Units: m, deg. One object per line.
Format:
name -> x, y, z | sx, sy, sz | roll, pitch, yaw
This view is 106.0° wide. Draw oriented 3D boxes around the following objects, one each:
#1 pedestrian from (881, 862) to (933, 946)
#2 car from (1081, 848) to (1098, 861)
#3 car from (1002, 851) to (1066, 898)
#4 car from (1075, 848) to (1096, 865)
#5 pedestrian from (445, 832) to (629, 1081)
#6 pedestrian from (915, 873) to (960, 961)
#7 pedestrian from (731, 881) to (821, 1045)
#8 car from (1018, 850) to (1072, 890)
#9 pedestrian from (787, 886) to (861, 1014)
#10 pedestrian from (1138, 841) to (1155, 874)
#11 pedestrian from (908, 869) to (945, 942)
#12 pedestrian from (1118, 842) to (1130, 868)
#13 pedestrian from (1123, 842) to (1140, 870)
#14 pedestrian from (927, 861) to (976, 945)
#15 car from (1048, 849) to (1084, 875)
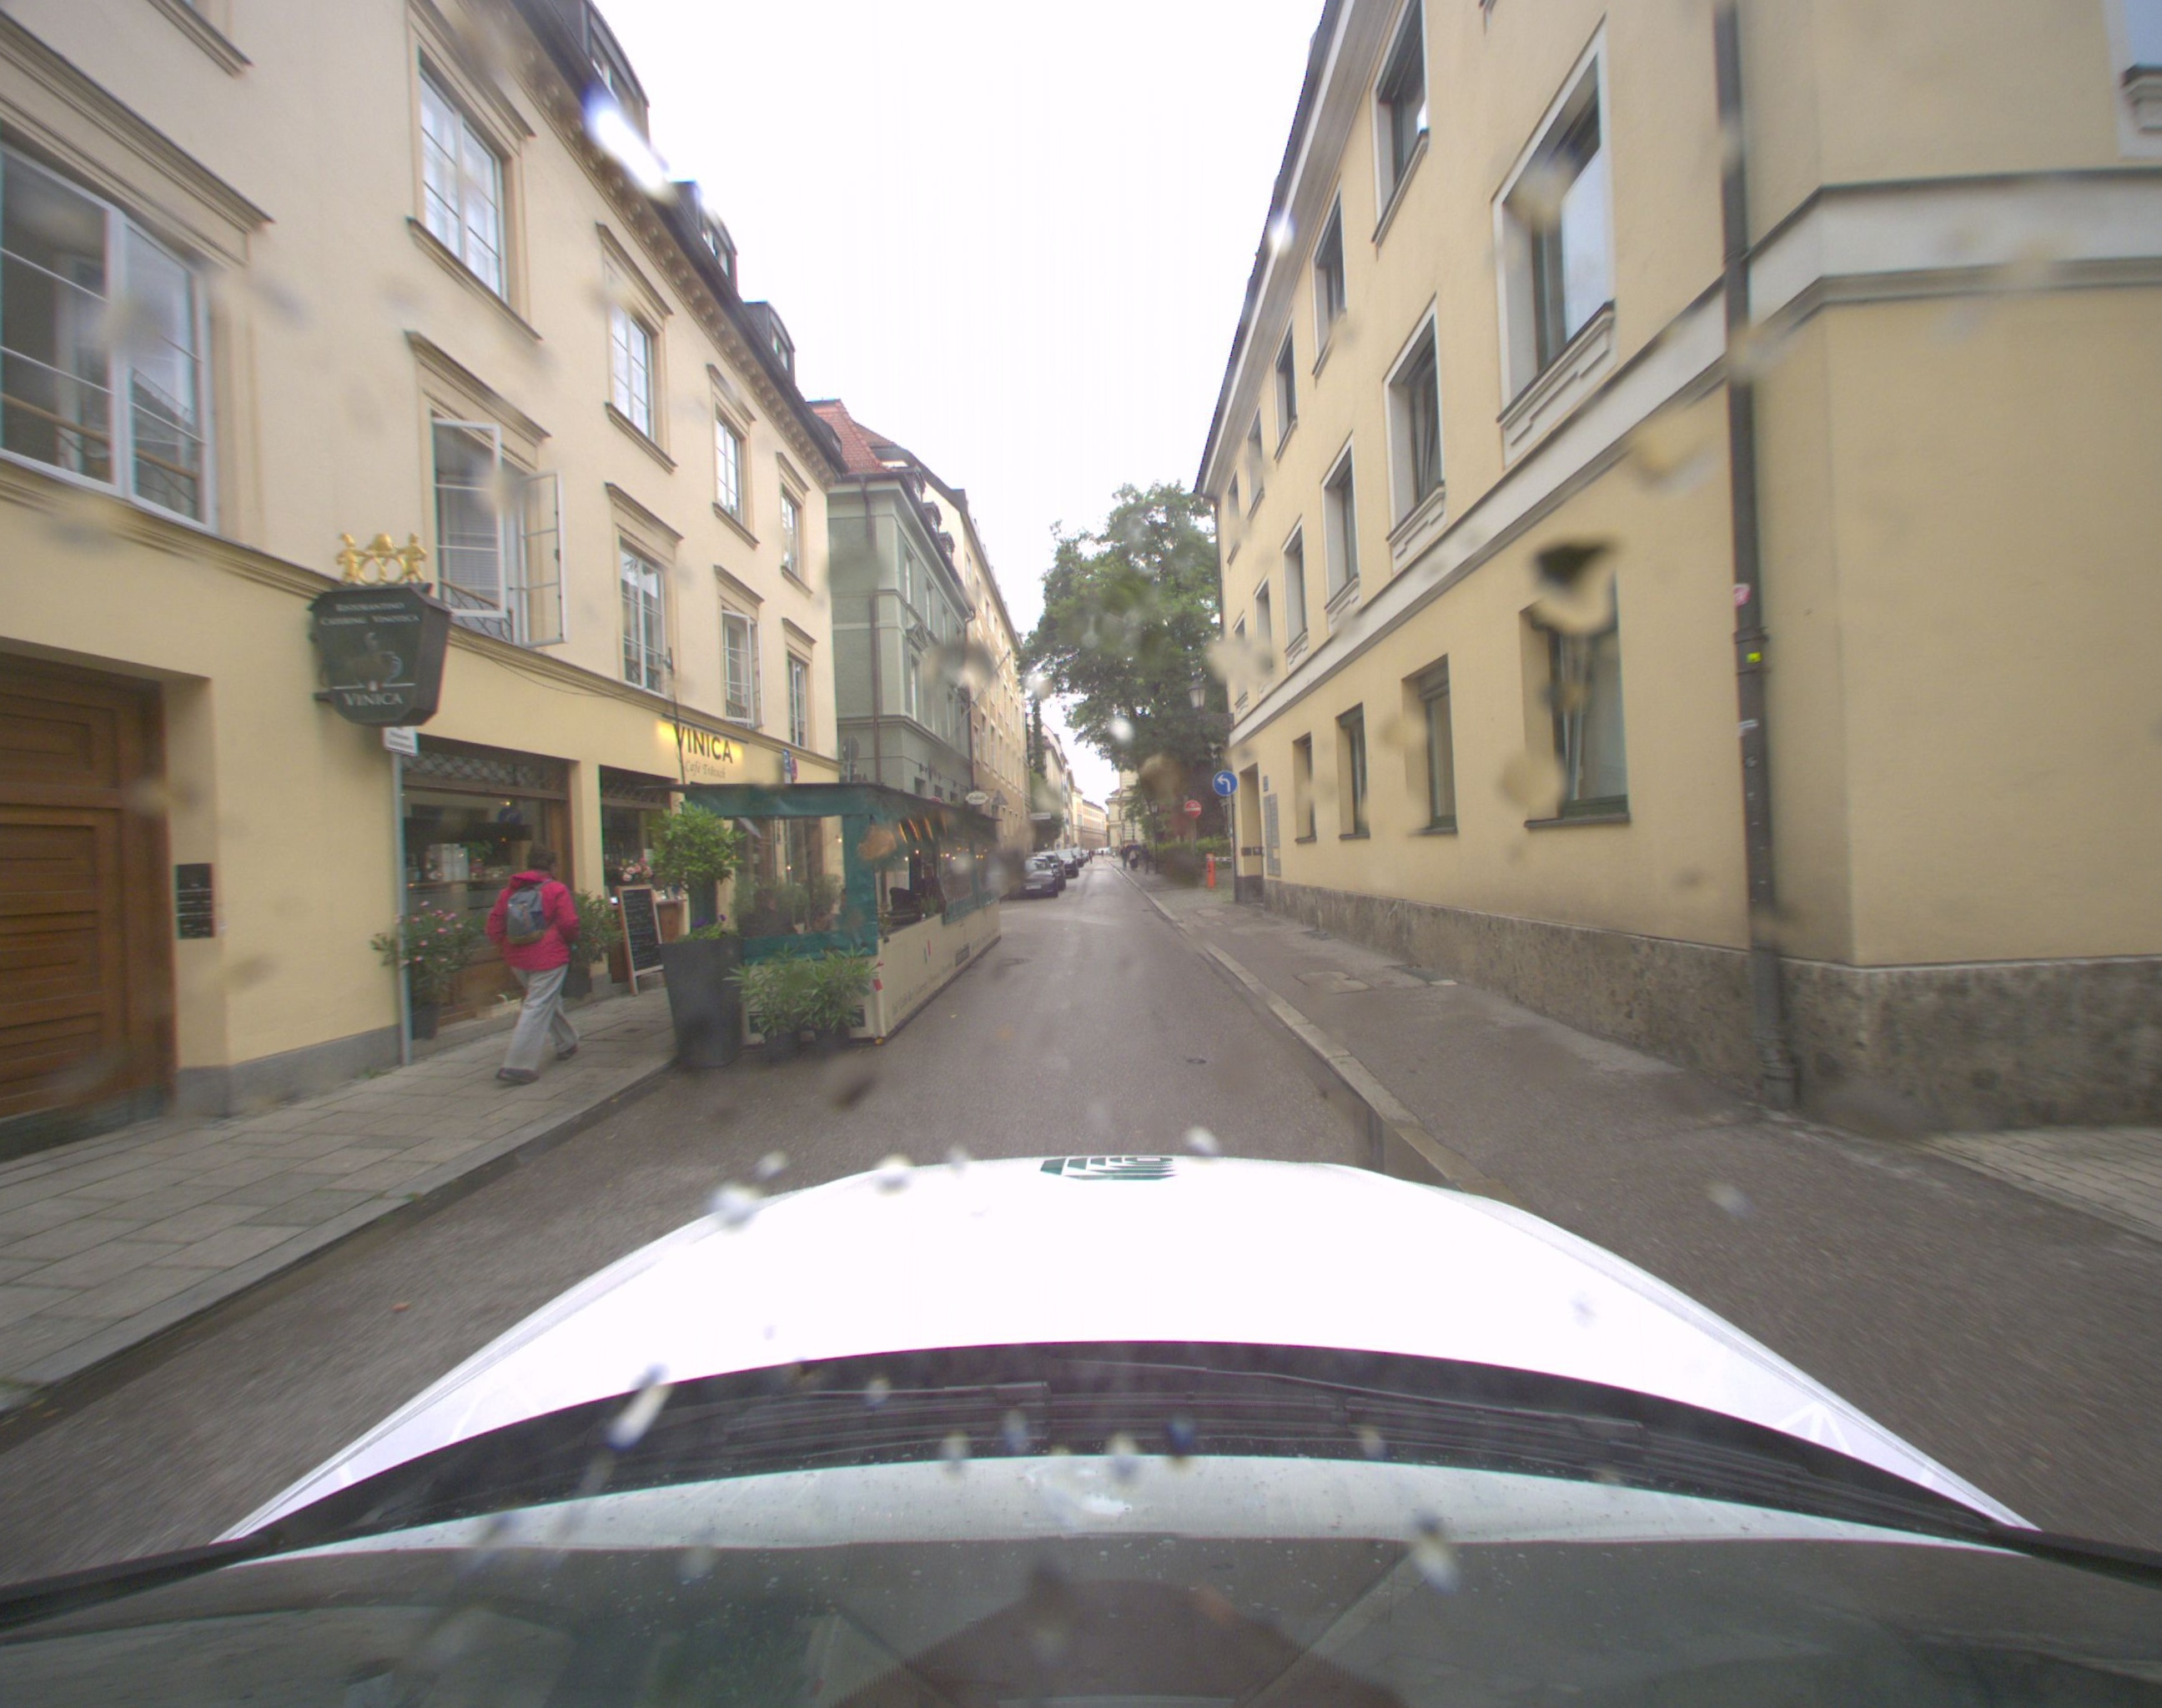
pedestrian -> -2.882, 0.812, 13.560 | 0.671, 1.326, 0.696 | -2, 0, -1
car -> 0.983, 0.040, 96.565 | 1.771, 1.466, 3.546 | -2, 0, 4
car -> -1.591, 0.671, 28.825 | 1.771, 1.466, 3.667 | -2, 0, 4
car -> 0.443, 0.215, 77.964 | 1.771, 1.466, 3.546 | -2, 0, 4
pedestrian -> -4.040, 0.716, 6.114 | 0.763, 1.708, 0.785 | -3, 0, -1
pedestrian -> -2.032, 0.880, 11.586 | 0.508, 1.175, 0.630 | -2, 0, -1
pedestrian -> -2.643, 0.920, 7.106 | 0.508, 1.326, 0.630 | -2, 0, -1
car -> -1.397, 0.609, 33.287 | 1.771, 1.466, 3.546 | -2, 0, 4
pedestrian -> -2.546, 0.933, 8.123 | 0.508, 1.187, 0.630 | -2, 0, -1
pedestrian -> 3.698, 0.185, 45.877 | 0.877, 1.802, 1.047 | -2, 0, 2
pedestrian -> -2.724, 0.896, 14.422 | 0.508, 1.237, 0.630 | -2, 0, -1
pedestrian -> 3.047, 0.039, 57.968 | 0.790, 1.802, 0.903 | -2, 0, 2
pedestrian -> 3.300, 0.103, 53.461 | 1.012, 1.802, 1.350 | -2, 0, 2
pedestrian -> -2.131, 0.791, 13.449 | 0.671, 1.326, 0.696 | -2, 0, -1
car -> -0.834, 0.452, 48.241 | 1.771, 1.466, 3.546 | -2, 0, 4
